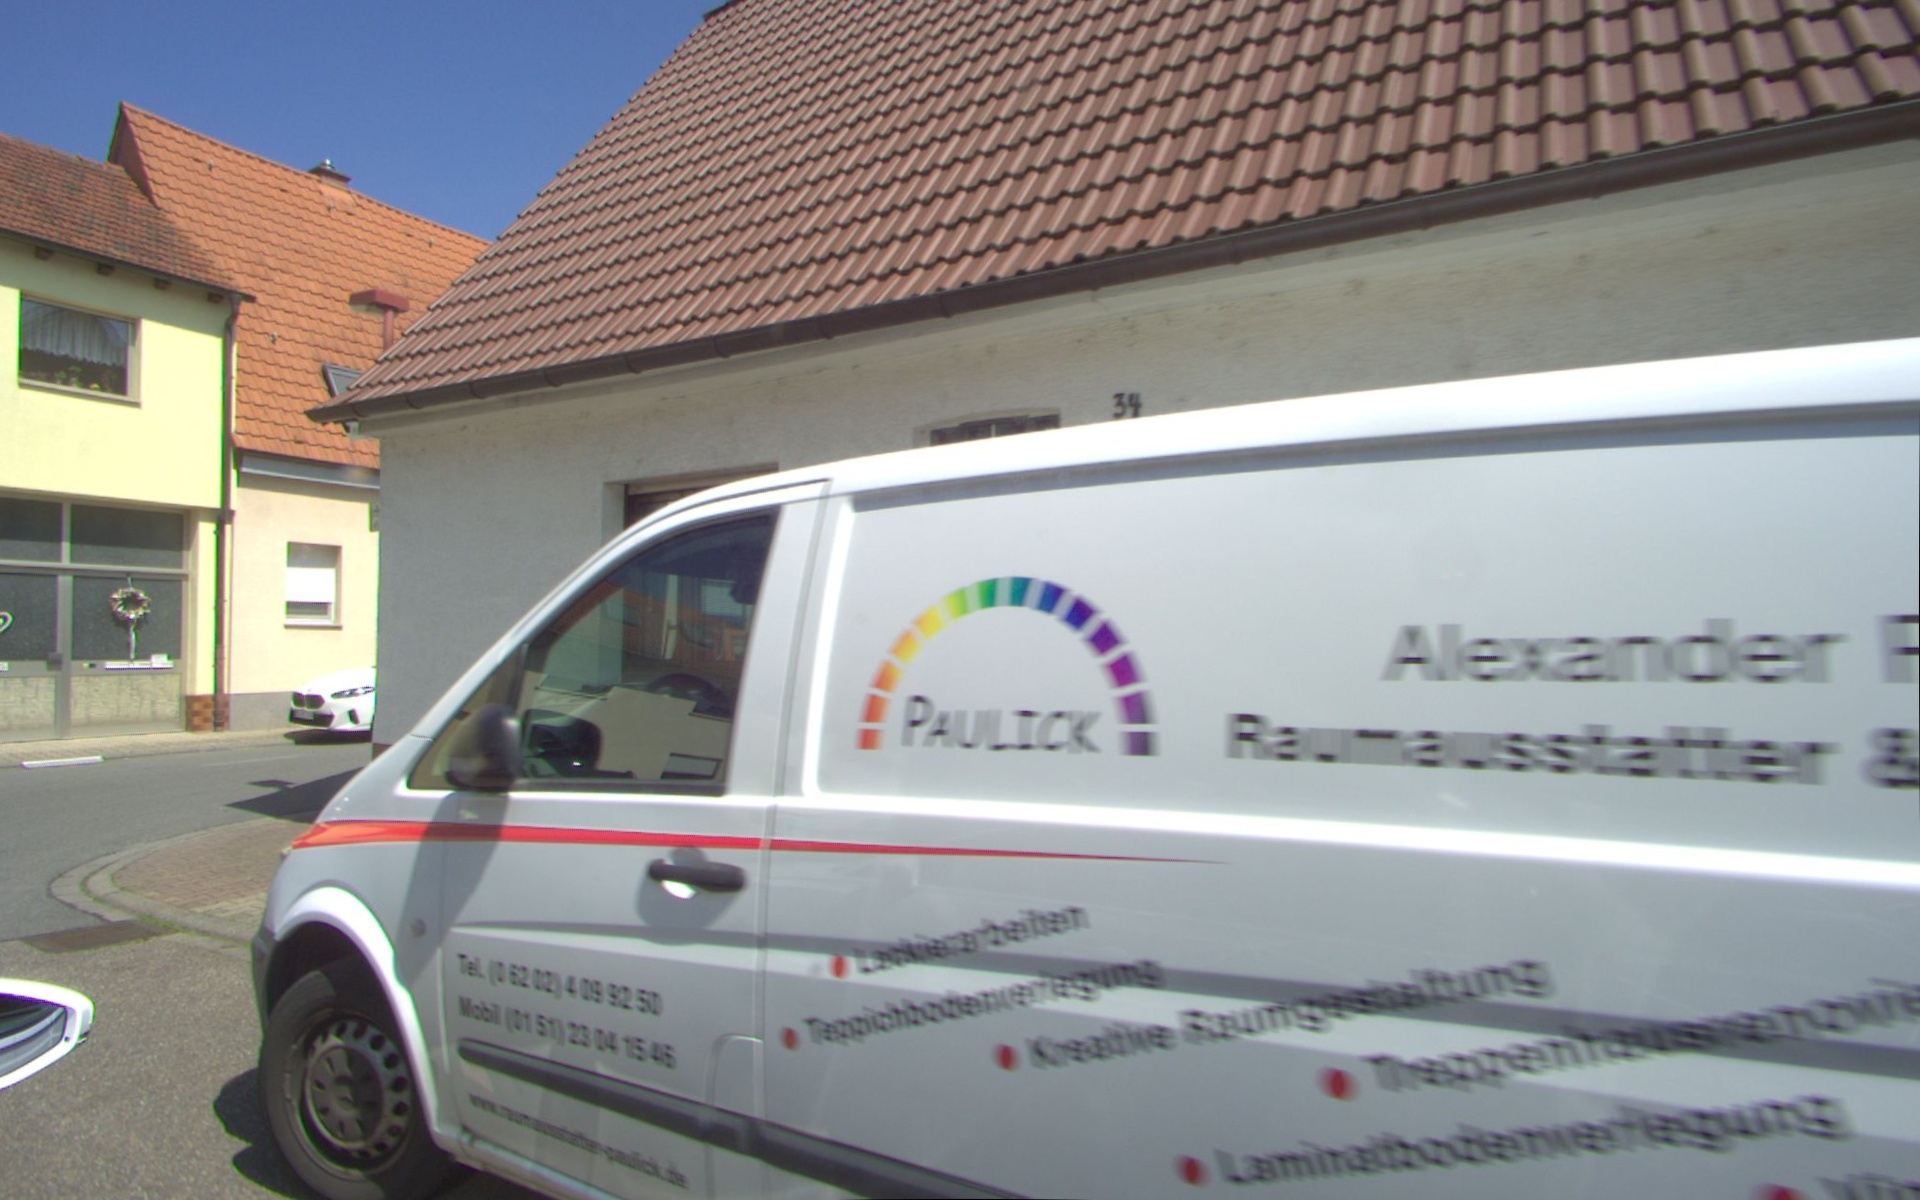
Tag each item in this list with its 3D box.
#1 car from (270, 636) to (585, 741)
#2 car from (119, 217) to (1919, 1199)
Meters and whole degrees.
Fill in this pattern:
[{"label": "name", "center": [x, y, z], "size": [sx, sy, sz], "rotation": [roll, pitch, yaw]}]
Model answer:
[{"label": "car", "center": [-8.430, 1.350, 16.254], "size": [1.762, 1.472, 4.196], "rotation": [-1, -3, 32]}, {"label": "car", "center": [0.208, 0.637, 2.534], "size": [5.189, 1.861, 2.011], "rotation": [-1, -3, 32]}]
